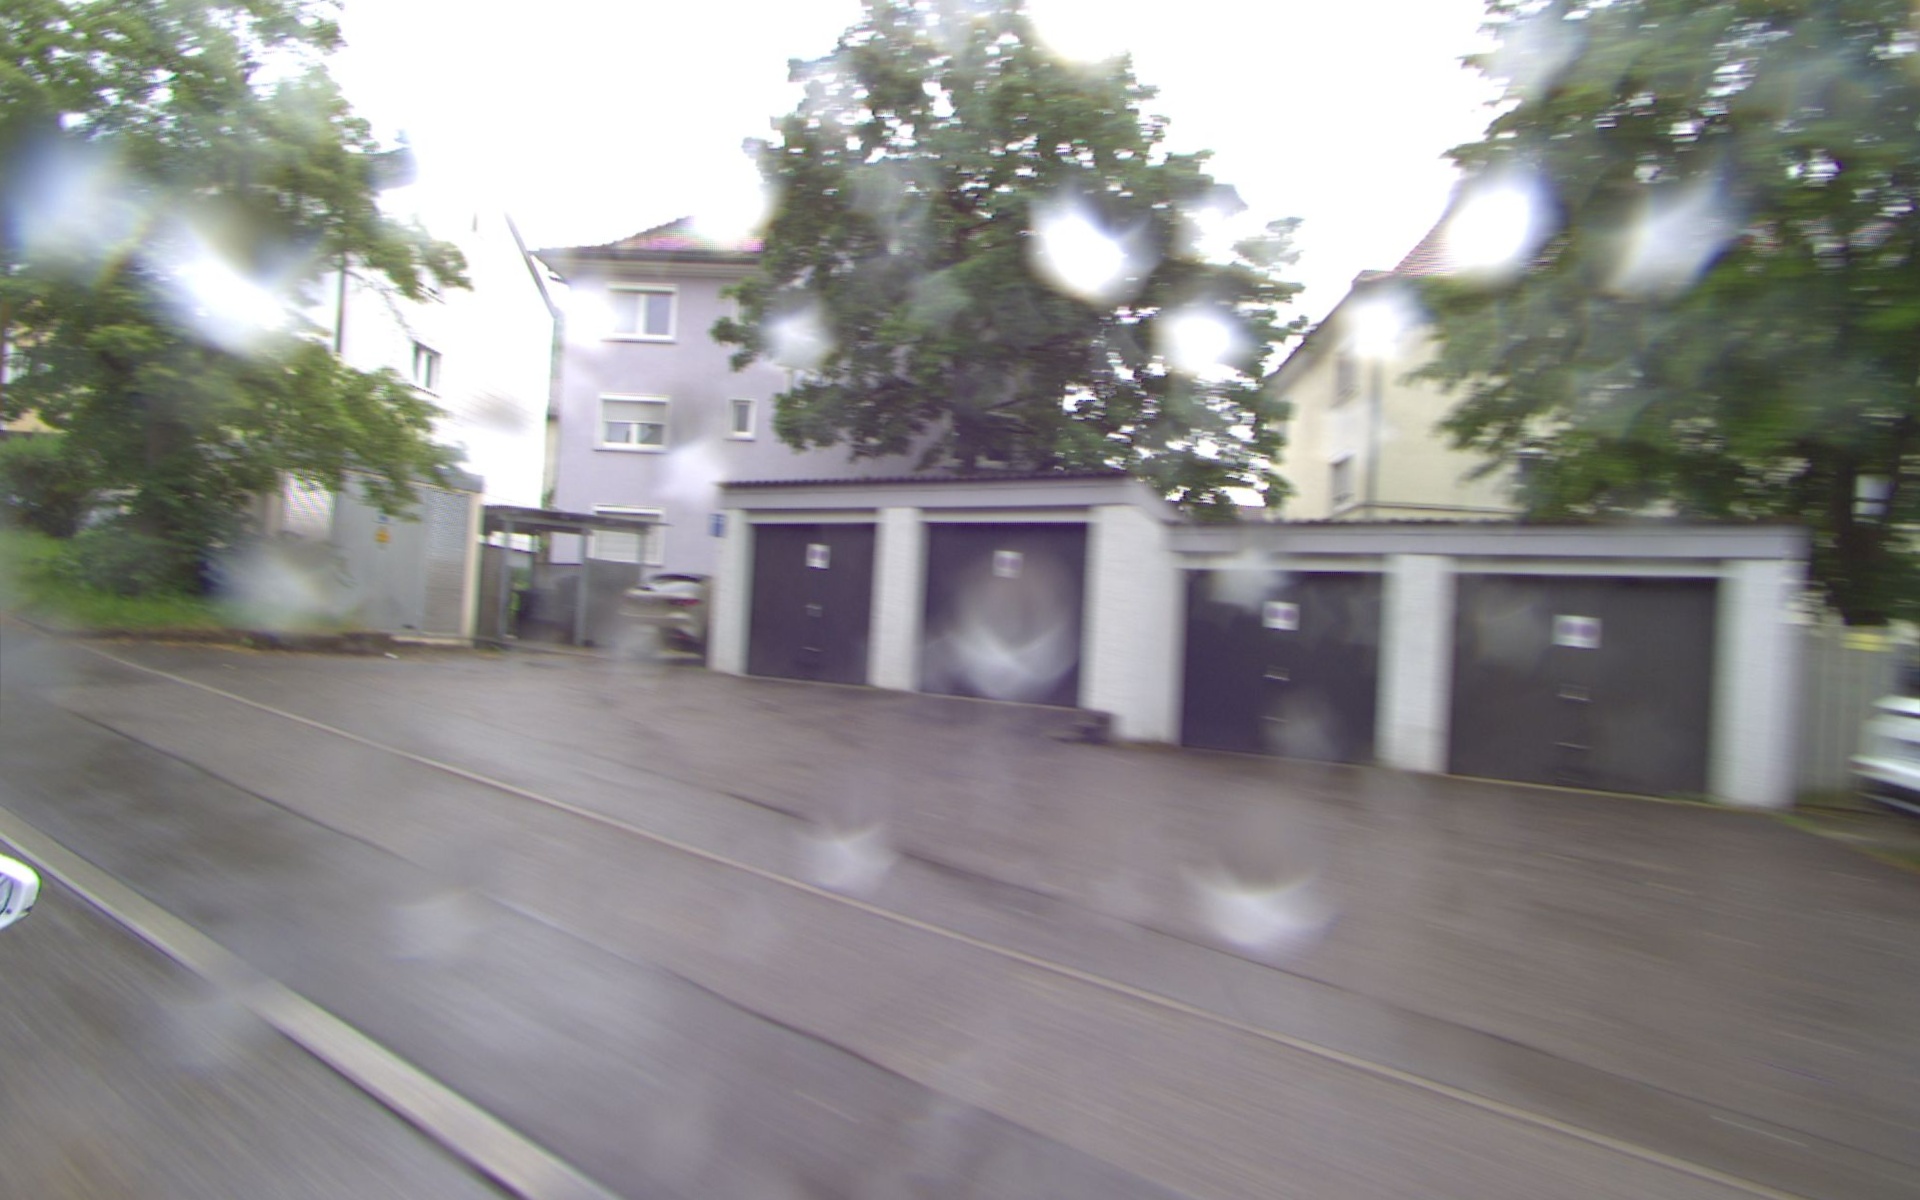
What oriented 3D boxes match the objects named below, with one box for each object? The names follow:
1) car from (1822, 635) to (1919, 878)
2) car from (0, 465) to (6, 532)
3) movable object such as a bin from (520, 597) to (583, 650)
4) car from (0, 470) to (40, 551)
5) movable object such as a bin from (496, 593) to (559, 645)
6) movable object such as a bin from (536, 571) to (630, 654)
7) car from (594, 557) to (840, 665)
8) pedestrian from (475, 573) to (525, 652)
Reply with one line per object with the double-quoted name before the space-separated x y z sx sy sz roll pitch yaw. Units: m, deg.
"car" 8.643 1.195 6.513 4.176 1.614 1.795 3 2 16
"car" -21.603 -2.252 19.980 1.638 1.515 3.445 8 1 28
"movable object such as a bin" -8.275 0.476 20.395 0.718 0.910 0.795 7 -2 32
"car" -19.594 -1.885 18.338 1.694 1.477 3.750 8 1 27
"movable object such as a bin" -8.946 0.397 20.808 0.778 0.922 0.795 7 -2 32
"movable object such as a bin" -7.406 0.252 19.790 1.101 1.409 1.140 7 -2 32
"car" -3.815 0.242 16.378 1.766 1.448 3.707 4 -2 29
"pedestrian" -10.173 0.278 22.266 0.605 1.655 0.582 7 -1 29
